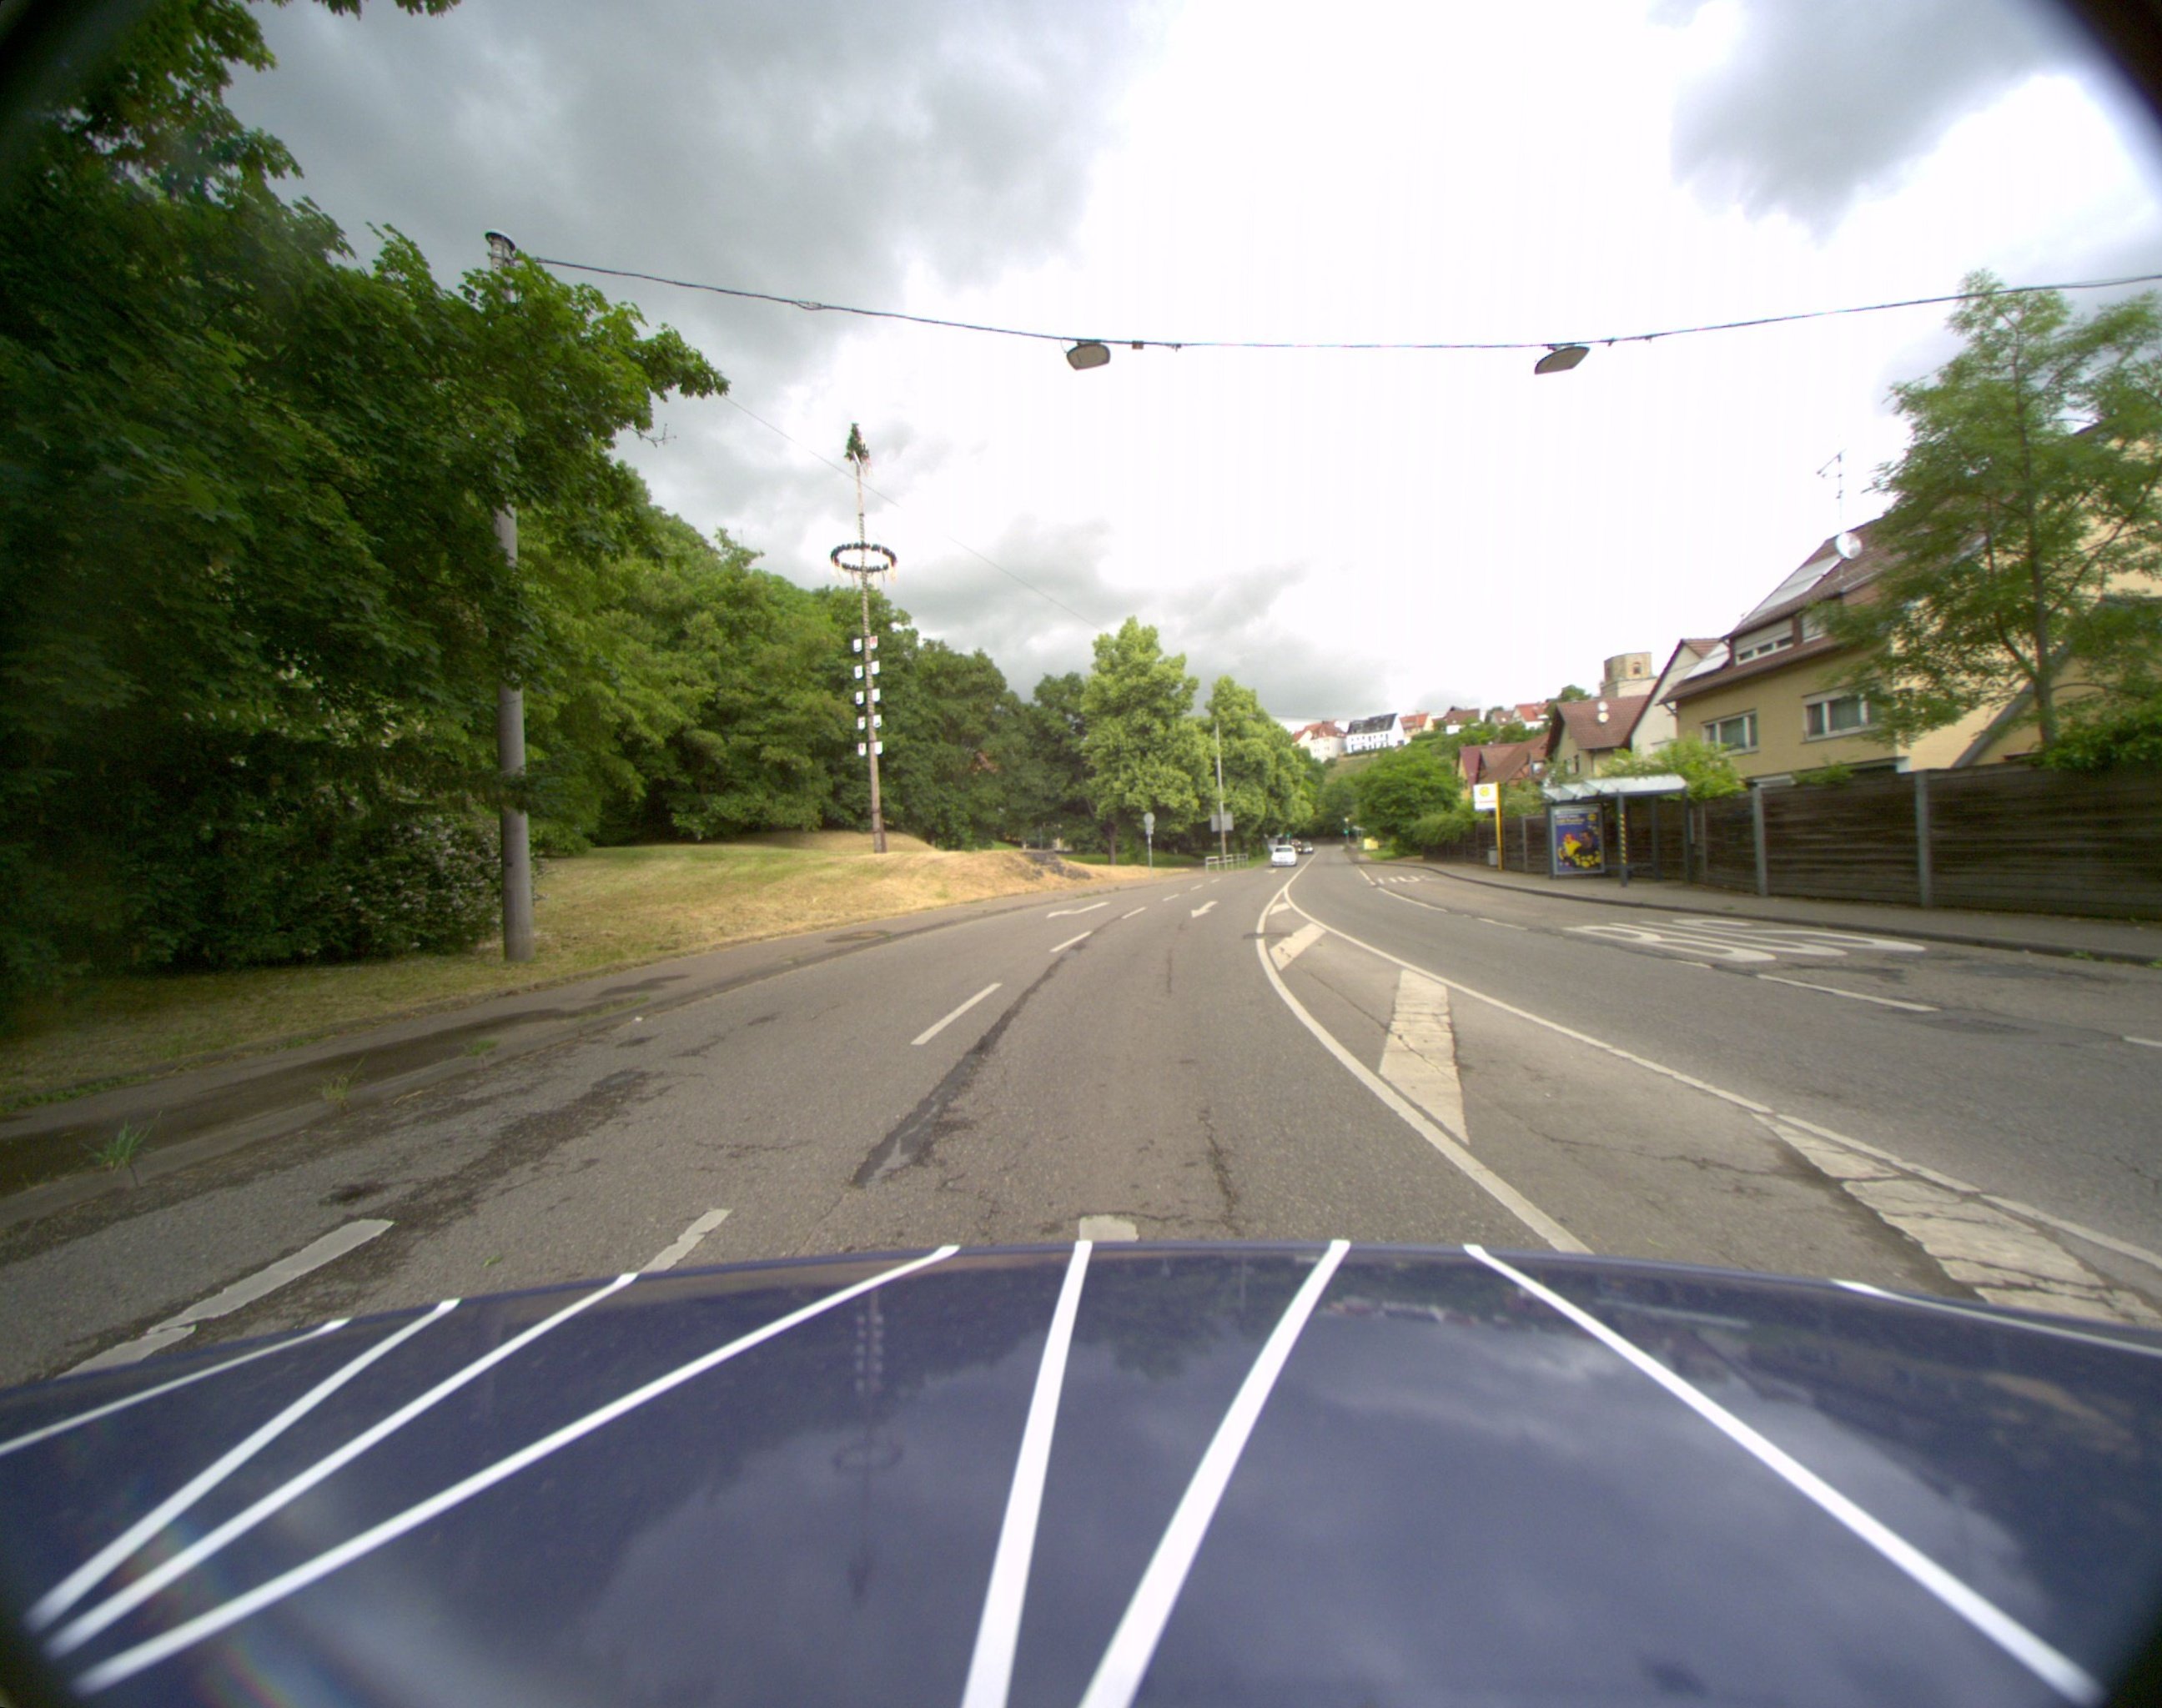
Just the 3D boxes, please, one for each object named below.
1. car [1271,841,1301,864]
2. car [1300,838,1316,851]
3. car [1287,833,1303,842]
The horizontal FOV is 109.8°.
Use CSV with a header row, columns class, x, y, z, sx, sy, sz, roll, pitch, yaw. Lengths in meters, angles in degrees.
class,x,y,z,sx,sy,sz,roll,pitch,yaw
car,14.665,-0.111,54.241,1.761,1.516,3.687,-2,1,18
car,28.535,-1.239,95.511,1.761,1.575,3.687,-2,1,17
car,44.768,-3.444,159.008,1.765,1.575,3.680,-2,1,-8
